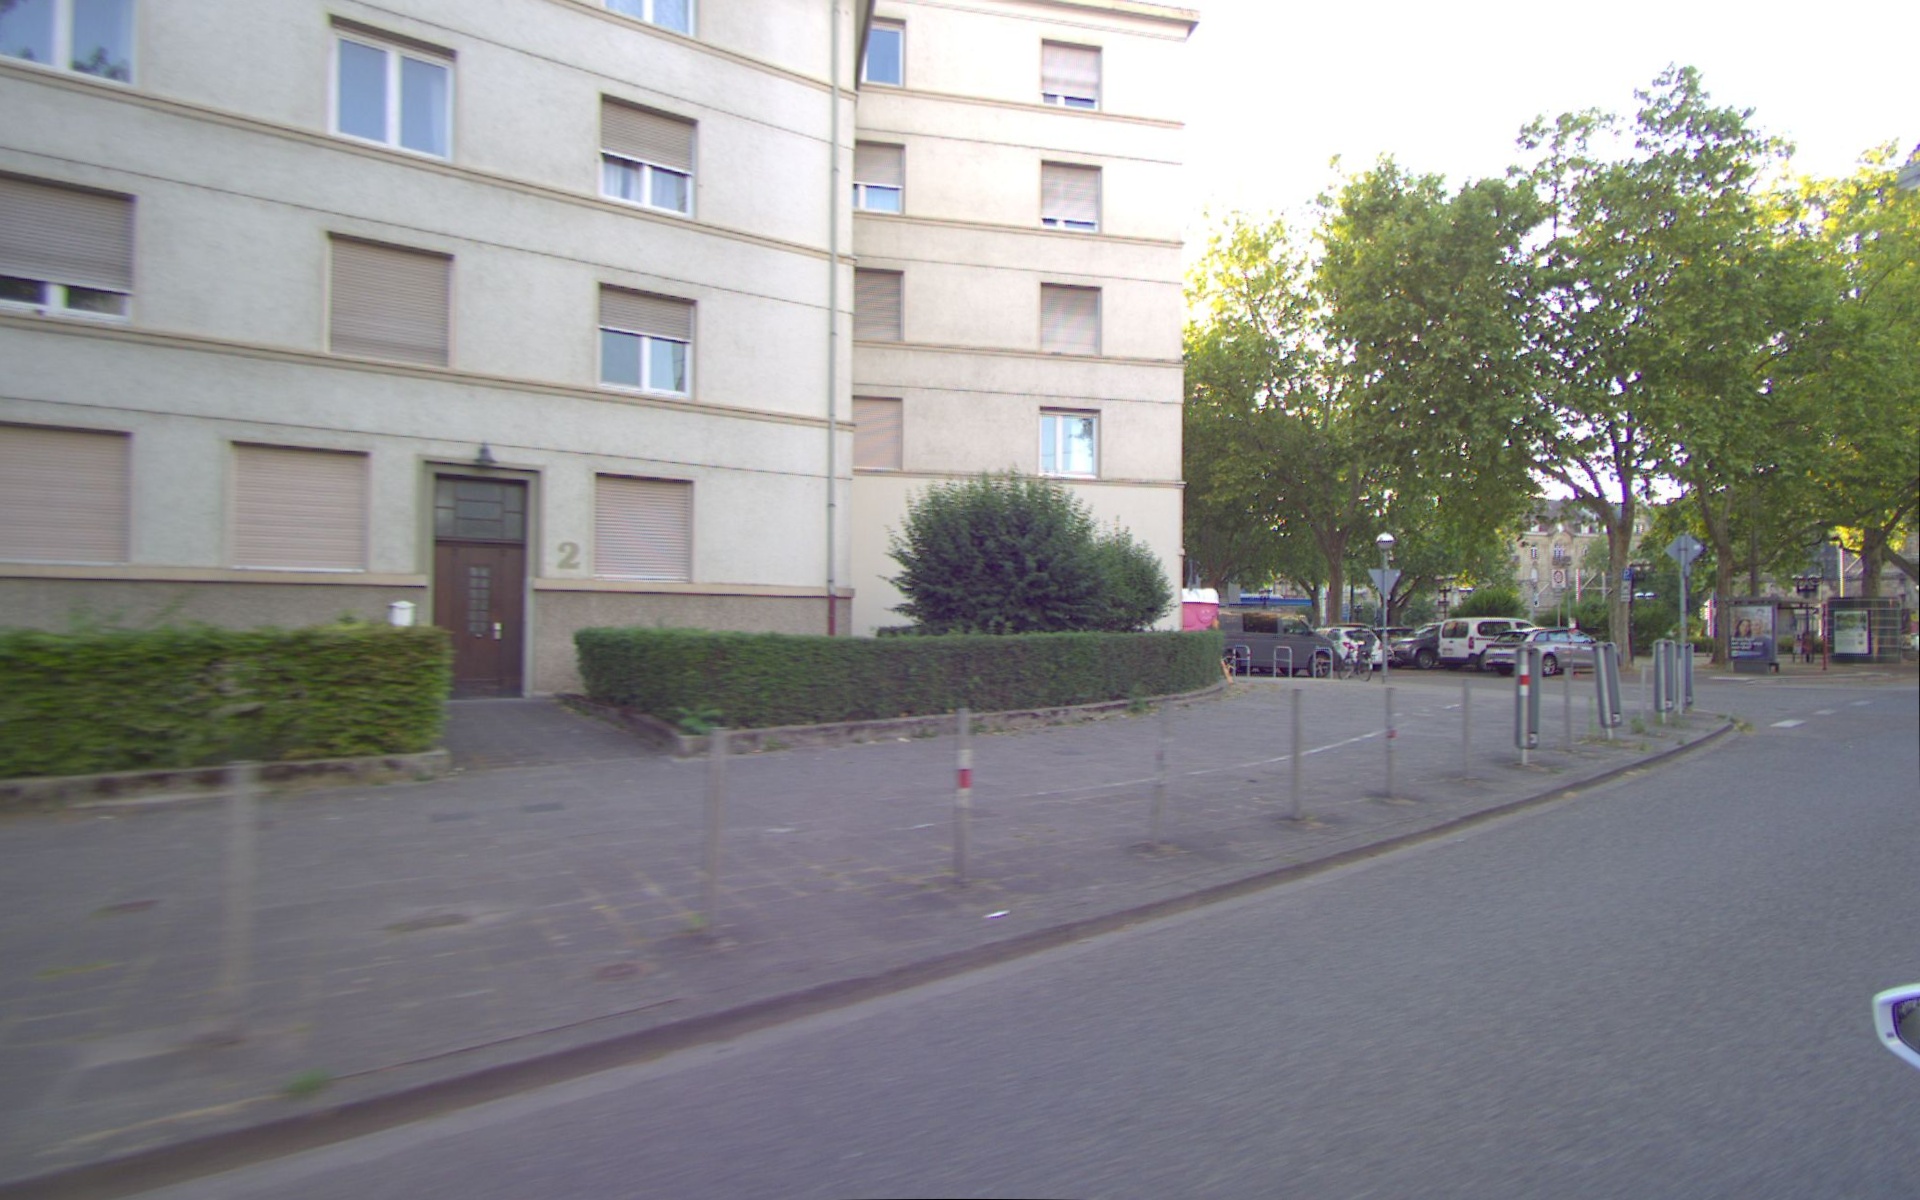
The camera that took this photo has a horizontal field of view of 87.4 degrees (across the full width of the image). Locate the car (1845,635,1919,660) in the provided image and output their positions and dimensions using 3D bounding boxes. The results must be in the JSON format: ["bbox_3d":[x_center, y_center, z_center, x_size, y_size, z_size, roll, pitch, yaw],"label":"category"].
[{"bbox_3d":[61.660,3.109,66.242,1.980,1.550,4.599,1,-2,-35],"label":"car"}]

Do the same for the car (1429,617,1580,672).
[{"bbox_3d":[18.892,1.517,34.899,4.551,1.824,1.820,0,-1,-13],"label":"car"}]

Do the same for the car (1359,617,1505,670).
[{"bbox_3d":[17.371,1.562,37.037,4.551,1.866,2.080,0,-1,-13],"label":"car"}]

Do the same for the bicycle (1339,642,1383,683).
[{"bbox_3d":[10.993,1.705,27.603,0.470,1.056,1.825,0,-1,0],"label":"bicycle"}]

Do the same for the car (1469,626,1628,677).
[{"bbox_3d":[18.545,1.580,31.671,4.559,1.501,1.817,0,-1,-19],"label":"car"}]

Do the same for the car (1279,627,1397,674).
[{"bbox_3d":[13.122,1.717,35.140,1.966,1.539,3.989,1,-1,-14],"label":"car"}]

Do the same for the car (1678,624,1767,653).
[{"bbox_3d":[49.642,2.482,65.448,4.548,1.866,2.081,0,-1,-11],"label":"car"}]

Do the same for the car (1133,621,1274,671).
[{"bbox_3d":[8.376,1.584,34.718,4.264,1.616,2.045,2,-2,-13],"label":"car"}]

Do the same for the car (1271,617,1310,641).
[{"bbox_3d":[32.439,2.868,98.693,1.896,2.289,4.332,1,-2,-10],"label":"car"}]

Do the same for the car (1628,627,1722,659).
[{"bbox_3d":[43.633,2.594,61.342,4.548,1.866,2.081,0,-1,-11],"label":"car"}]

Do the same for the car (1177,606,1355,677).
[{"bbox_3d":[9.159,1.254,30.217,4.762,1.999,1.996,2,-1,-12],"label":"car"}]
